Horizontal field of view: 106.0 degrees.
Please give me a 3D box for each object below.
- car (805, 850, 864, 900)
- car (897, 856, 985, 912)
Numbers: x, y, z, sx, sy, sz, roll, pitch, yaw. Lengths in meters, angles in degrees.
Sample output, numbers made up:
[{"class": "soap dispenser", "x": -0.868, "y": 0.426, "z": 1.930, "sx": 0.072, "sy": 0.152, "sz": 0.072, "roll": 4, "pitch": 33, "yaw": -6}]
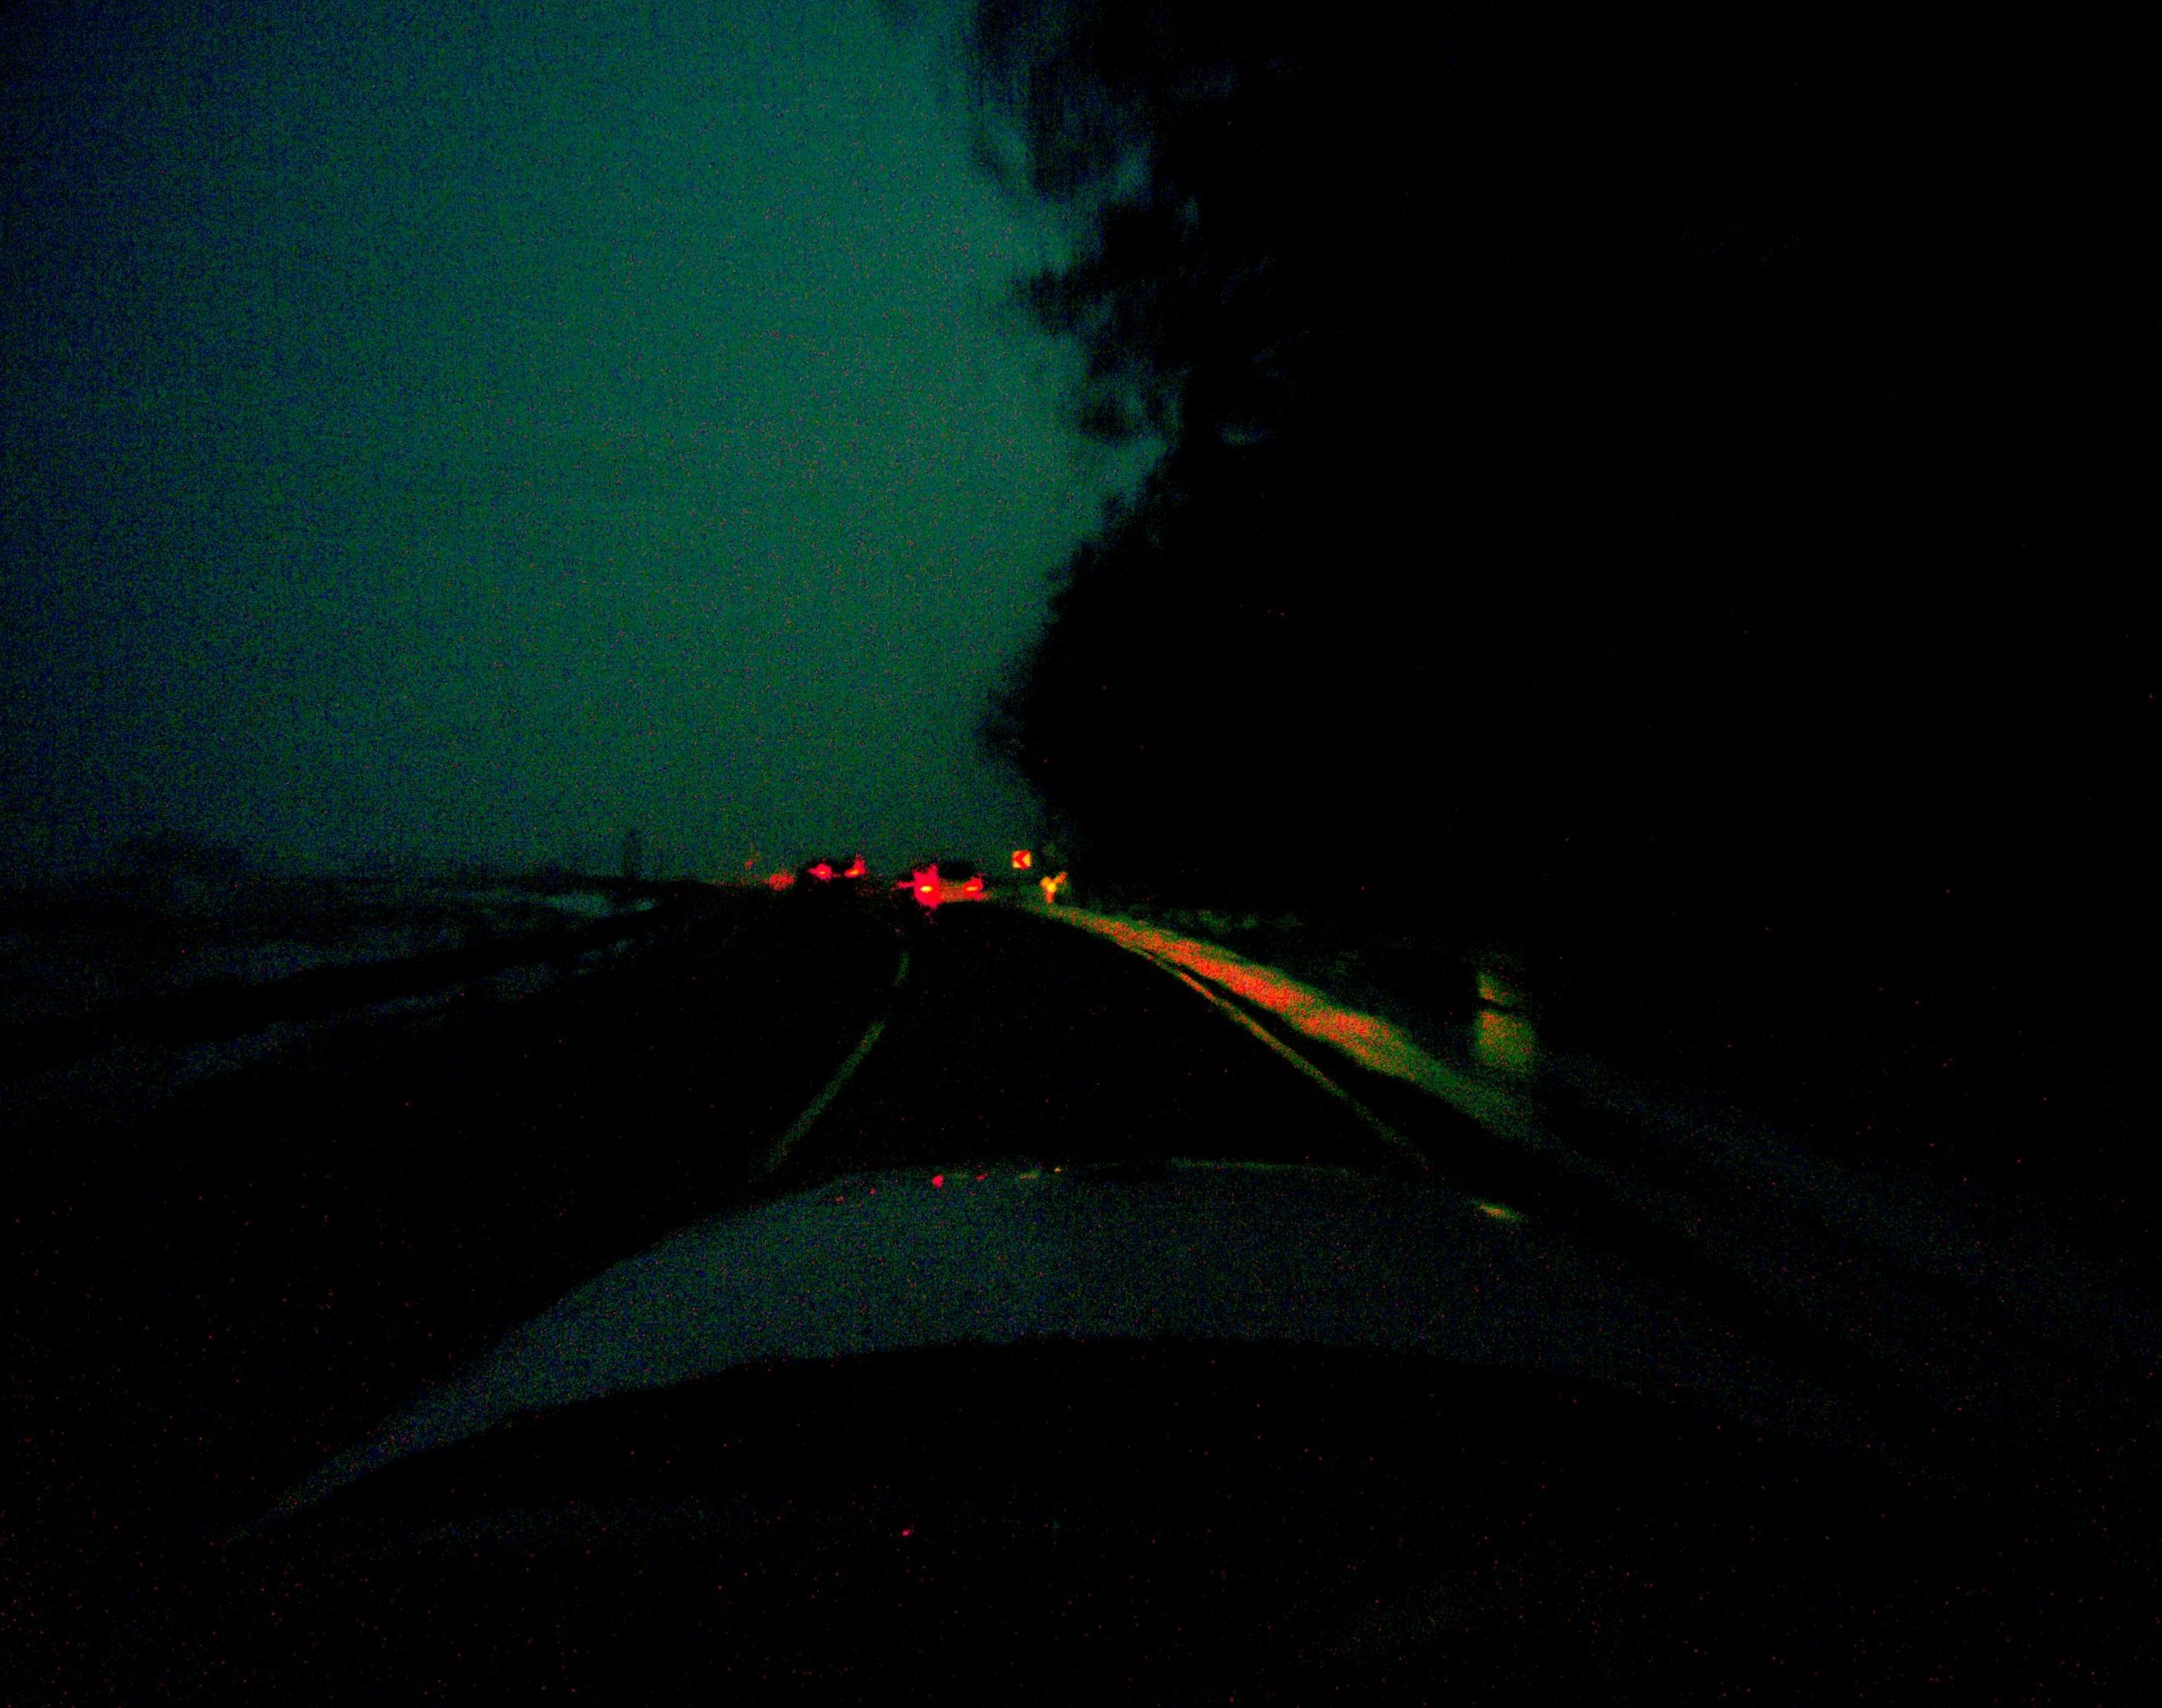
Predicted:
[{"class": "car", "x": -10.115, "y": 0.814, "z": 33.212, "sx": 2.001, "sy": 1.782, "sz": 3.973, "roll": 2, "pitch": 0, "yaw": -21}, {"class": "car", "x": -4.043, "y": 0.769, "z": 23.014, "sx": 1.950, "sy": 1.381, "sz": 3.977, "roll": -1, "pitch": 0, "yaw": -17}]
